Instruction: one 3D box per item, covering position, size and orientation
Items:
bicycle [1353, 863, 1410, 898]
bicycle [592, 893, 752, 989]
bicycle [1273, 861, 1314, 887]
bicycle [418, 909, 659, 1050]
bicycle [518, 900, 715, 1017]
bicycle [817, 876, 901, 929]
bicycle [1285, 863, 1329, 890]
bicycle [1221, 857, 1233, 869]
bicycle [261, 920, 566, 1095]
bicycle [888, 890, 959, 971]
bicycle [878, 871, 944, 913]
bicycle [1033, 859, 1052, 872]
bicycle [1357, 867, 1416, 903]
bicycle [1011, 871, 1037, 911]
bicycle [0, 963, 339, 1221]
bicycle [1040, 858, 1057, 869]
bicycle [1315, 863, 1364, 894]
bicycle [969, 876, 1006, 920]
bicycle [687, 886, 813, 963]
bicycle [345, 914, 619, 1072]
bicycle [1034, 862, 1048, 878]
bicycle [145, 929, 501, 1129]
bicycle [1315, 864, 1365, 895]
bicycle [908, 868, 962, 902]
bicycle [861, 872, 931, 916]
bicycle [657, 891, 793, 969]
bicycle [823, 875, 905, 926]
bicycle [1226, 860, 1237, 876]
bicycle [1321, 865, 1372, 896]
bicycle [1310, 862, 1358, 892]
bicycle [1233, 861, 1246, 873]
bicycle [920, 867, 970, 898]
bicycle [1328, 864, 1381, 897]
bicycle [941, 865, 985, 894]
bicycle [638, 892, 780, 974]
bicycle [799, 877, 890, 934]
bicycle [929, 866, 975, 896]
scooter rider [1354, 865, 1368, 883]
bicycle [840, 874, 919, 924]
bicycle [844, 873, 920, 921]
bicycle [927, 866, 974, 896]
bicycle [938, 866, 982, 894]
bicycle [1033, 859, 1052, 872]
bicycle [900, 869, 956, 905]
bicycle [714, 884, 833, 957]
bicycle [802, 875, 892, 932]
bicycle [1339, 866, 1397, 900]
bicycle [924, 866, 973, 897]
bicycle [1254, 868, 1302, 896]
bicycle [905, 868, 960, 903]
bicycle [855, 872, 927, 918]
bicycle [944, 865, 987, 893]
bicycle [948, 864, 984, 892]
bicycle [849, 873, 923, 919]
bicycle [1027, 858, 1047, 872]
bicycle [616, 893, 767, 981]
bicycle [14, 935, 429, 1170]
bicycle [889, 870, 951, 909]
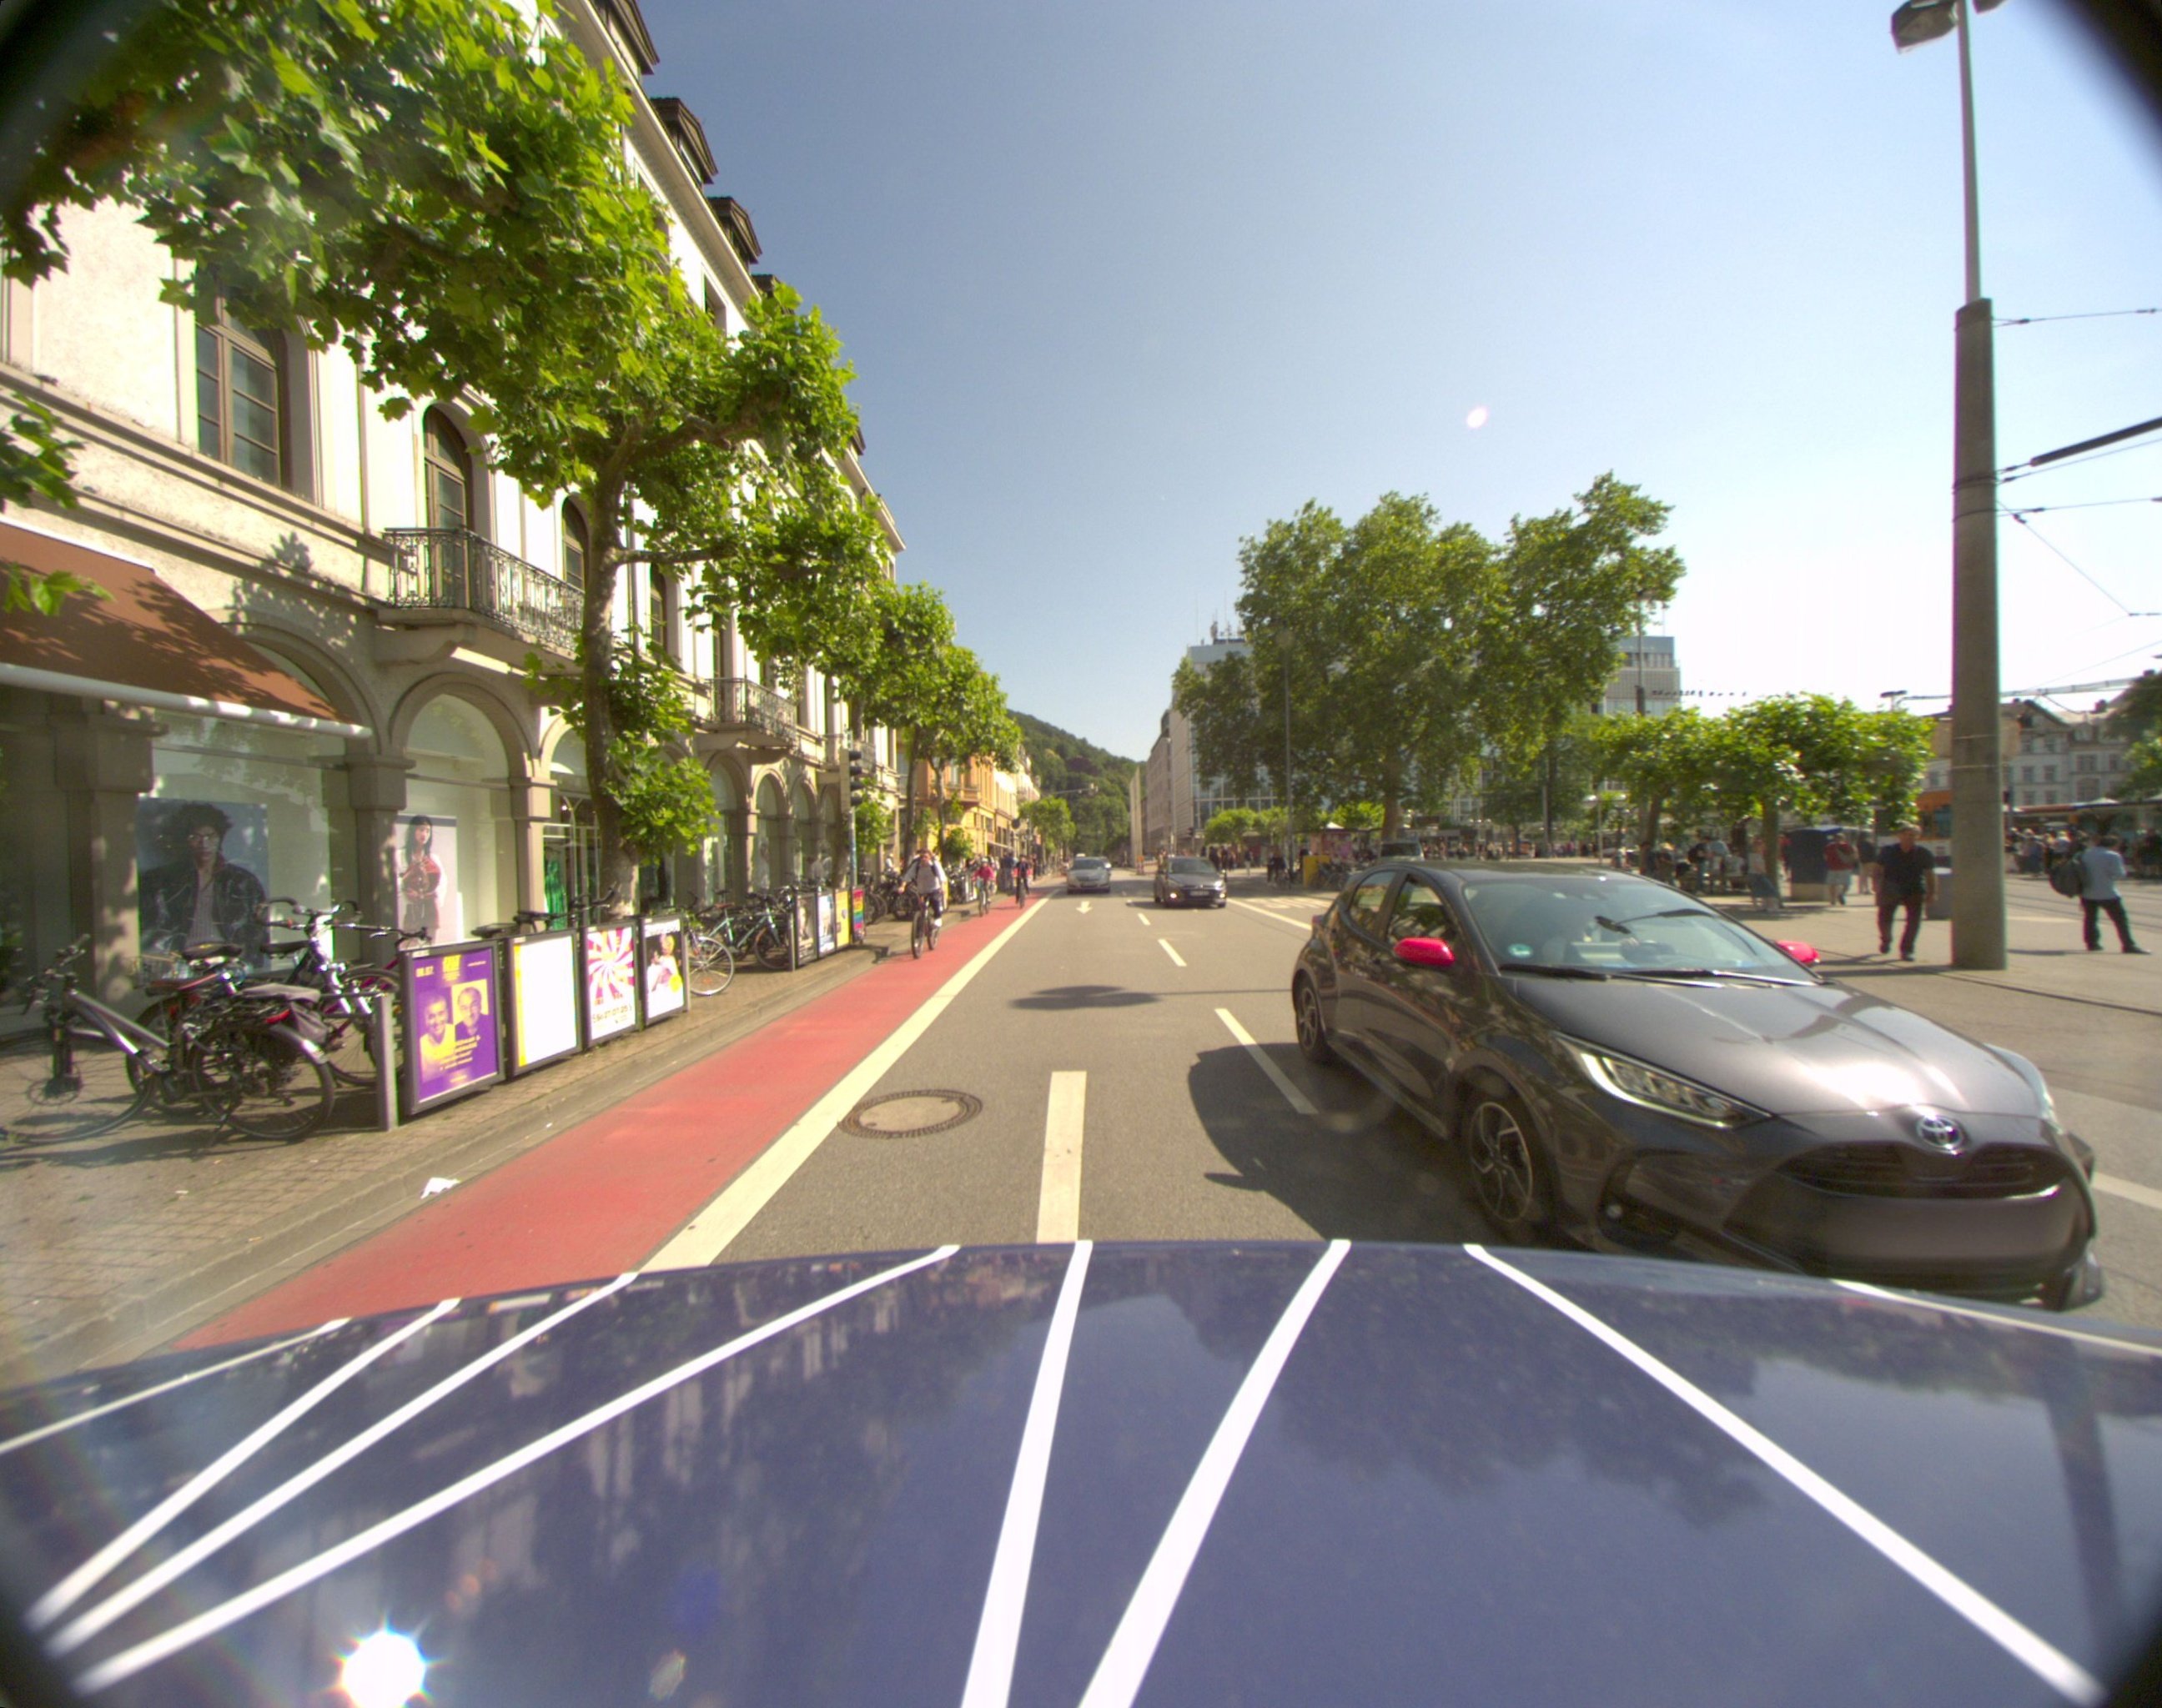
[{"bbox_3d":[10.253,0.914,25.971,1.757,1.140,0.483,-1,1,-1],"label":"bicycle"},{"bbox_3d":[-5.243,1.108,9.786,1.757,1.140,0.483,-1,1,-1],"label":"bicycle"},{"bbox_3d":[9.875,0.925,35.277,1.757,1.140,0.483,-1,1,-1],"label":"bicycle"},{"bbox_3d":[-4.813,1.100,6.801,1.757,1.140,0.483,-1,1,-1],"label":"bicycle"},{"bbox_3d":[-4.911,1.095,8.093,1.757,1.140,0.483,-1,1,-1],"label":"bicycle"},{"bbox_3d":[-5.068,1.091,17.397,1.757,1.140,0.483,-1,1,-1],"label":"bicycle"},{"bbox_3d":[10.038,0.980,33.777,1.757,1.140,0.483,-1,1,-1],"label":"bicycle"},{"bbox_3d":[13.866,0.866,72.173,0.592,1.140,1.757,-1,0,-7],"label":"bicycle"},{"bbox_3d":[-4.865,1.102,5.596,1.757,1.140,0.483,-1,1,-1],"label":"bicycle"},{"bbox_3d":[-2.516,1.190,12.361,0.736,1.086,1.897,-3,0,-1],"label":"bicycle"},{"bbox_3d":[-4.913,1.084,21.987,1.757,1.140,0.592,-1,1,-1],"label":"bicycle"},{"bbox_3d":[-3.613,1.057,71.753,1.757,1.140,0.592,-1,1,-1],"label":"bicycle"},{"bbox_3d":[10.249,1.027,25.520,1.757,1.140,0.483,-1,1,-1],"label":"bicycle"},{"bbox_3d":[-1.711,1.103,23.155,0.667,1.086,1.897,-3,0,-2],"label":"bicycle"},{"bbox_3d":[-4.866,1.159,3.804,1.757,1.117,0.483,-1,1,-1],"label":"bicycle"},{"bbox_3d":[-3.374,1.004,79.160,1.757,1.140,0.592,-1,1,-1],"label":"bicycle"},{"bbox_3d":[10.194,0.960,29.992,1.757,1.140,0.483,-1,1,-1],"label":"bicycle"},{"bbox_3d":[-2.491,1.159,20.456,0.736,1.086,1.819,-2,0,-1],"label":"bicycle"},{"bbox_3d":[-5.238,1.105,12.076,1.757,1.140,0.483,-1,1,-1],"label":"bicycle"},{"bbox_3d":[-4.823,1.100,6.185,1.757,1.140,0.527,-1,1,-1],"label":"bicycle"},{"bbox_3d":[-3.011,1.189,56.810,0.737,1.086,1.895,2,0,-13],"label":"bicycle"},{"bbox_3d":[-4.866,1.103,4.941,1.757,1.140,0.483,-1,1,-1],"label":"bicycle"},{"bbox_3d":[10.020,0.984,29.369,1.757,1.140,0.483,-1,1,-1],"label":"bicycle"},{"bbox_3d":[-5.148,1.086,26.812,1.757,1.140,0.592,-1,1,-1],"label":"bicycle"},{"bbox_3d":[-5.104,1.090,21.022,1.757,1.140,0.592,-1,1,-1],"label":"bicycle"},{"bbox_3d":[-5.281,1.121,11.317,1.757,1.062,0.483,-1,1,-1],"label":"bicycle"},{"bbox_3d":[-5.117,1.095,17.973,1.757,1.140,0.483,-1,1,-1],"label":"bicycle"},{"bbox_3d":[11.788,1.081,59.419,0.729,1.137,1.914,-3,0,14],"label":"bicycle"},{"bbox_3d":[10.042,1.002,28.792,1.757,1.140,0.483,-1,1,-1],"label":"bicycle"},{"bbox_3d":[10.211,0.911,30.671,1.757,1.140,0.483,-1,1,-1],"label":"bicycle"},{"bbox_3d":[15.077,1.213,72.346,0.592,1.140,1.757,-1,0,-7],"label":"bicycle"},{"bbox_3d":[-5.185,1.085,28.993,1.757,1.140,0.592,-1,1,-1],"label":"bicycle"},{"bbox_3d":[10.091,0.980,28.038,1.757,1.140,0.483,-1,1,-1],"label":"bicycle"},{"bbox_3d":[-5.008,1.081,32.403,1.757,1.140,0.592,-1,1,-1],"label":"bicycle"},{"bbox_3d":[-5.272,1.108,10.819,1.757,1.081,0.483,-1,1,-1],"label":"bicycle"},{"bbox_3d":[-5.062,1.103,16.331,1.778,1.140,0.483,-1,1,-1],"label":"bicycle"},{"bbox_3d":[-5.251,1.086,31.072,1.757,1.151,0.592,-1,1,-1],"label":"bicycle"},{"bbox_3d":[13.218,0.933,35.873,0.506,0.833,0.349,-3,1,34],"label":"scooter rider"},{"bbox_3d":[-4.923,1.088,18.606,1.757,1.140,0.483,-1,1,-1],"label":"bicycle"},{"bbox_3d":[-5.027,1.087,19.232,1.757,1.140,0.483,-1,1,-1],"label":"bicycle"},{"bbox_3d":[-5.217,1.085,30.471,1.757,1.140,0.592,-1,1,-1],"label":"bicycle"},{"bbox_3d":[-5.038,1.081,31.697,1.757,1.140,0.592,-1,1,-1],"label":"bicycle"},{"bbox_3d":[-3.695,1.088,72.481,1.757,1.140,0.592,-1,1,-1],"label":"bicycle"},{"bbox_3d":[-5.122,1.086,25.480,1.757,1.140,0.592,-1,1,-1],"label":"bicycle"},{"bbox_3d":[-5.141,1.100,12.763,1.757,1.140,0.483,-1,1,-1],"label":"bicycle"},{"bbox_3d":[-5.172,1.085,16.838,1.804,1.187,0.483,-1,1,-1],"label":"bicycle"},{"bbox_3d":[10.174,1.026,26.961,1.865,1.140,0.483,-1,1,-1],"label":"bicycle"},{"bbox_3d":[-5.174,1.084,29.732,1.757,1.140,0.592,-1,1,-1],"label":"bicycle"},{"bbox_3d":[7.840,1.099,30.419,0.831,1.017,2.624,-3,0,-10],"label":"bicycle"},{"bbox_3d":[-5.103,1.086,26.113,1.757,1.140,0.592,-1,1,-1],"label":"bicycle"},{"bbox_3d":[-5.066,1.088,20.327,1.757,1.140,0.592,-1,1,-1],"label":"bicycle"},{"bbox_3d":[-5.019,1.080,33.049,1.757,1.140,0.592,-1,1,-1],"label":"bicycle"},{"bbox_3d":[-5.164,1.079,34.272,1.533,1.190,0.425,-1,1,-1],"label":"bicycle"},{"bbox_3d":[-5.058,1.085,19.762,1.757,1.140,0.483,-1,1,-1],"label":"bicycle"},{"bbox_3d":[-3.913,0.978,68.314,1.757,1.140,0.592,-1,1,-1],"label":"bicycle"},{"bbox_3d":[-5.255,1.108,10.295,1.757,1.099,0.483,-1,1,-1],"label":"bicycle"},{"bbox_3d":[-4.869,1.102,4.369,1.757,1.180,0.483,-1,1,-1],"label":"bicycle"},{"bbox_3d":[-4.928,1.083,23.317,1.757,1.140,0.592,-1,1,-1],"label":"bicycle"}]
